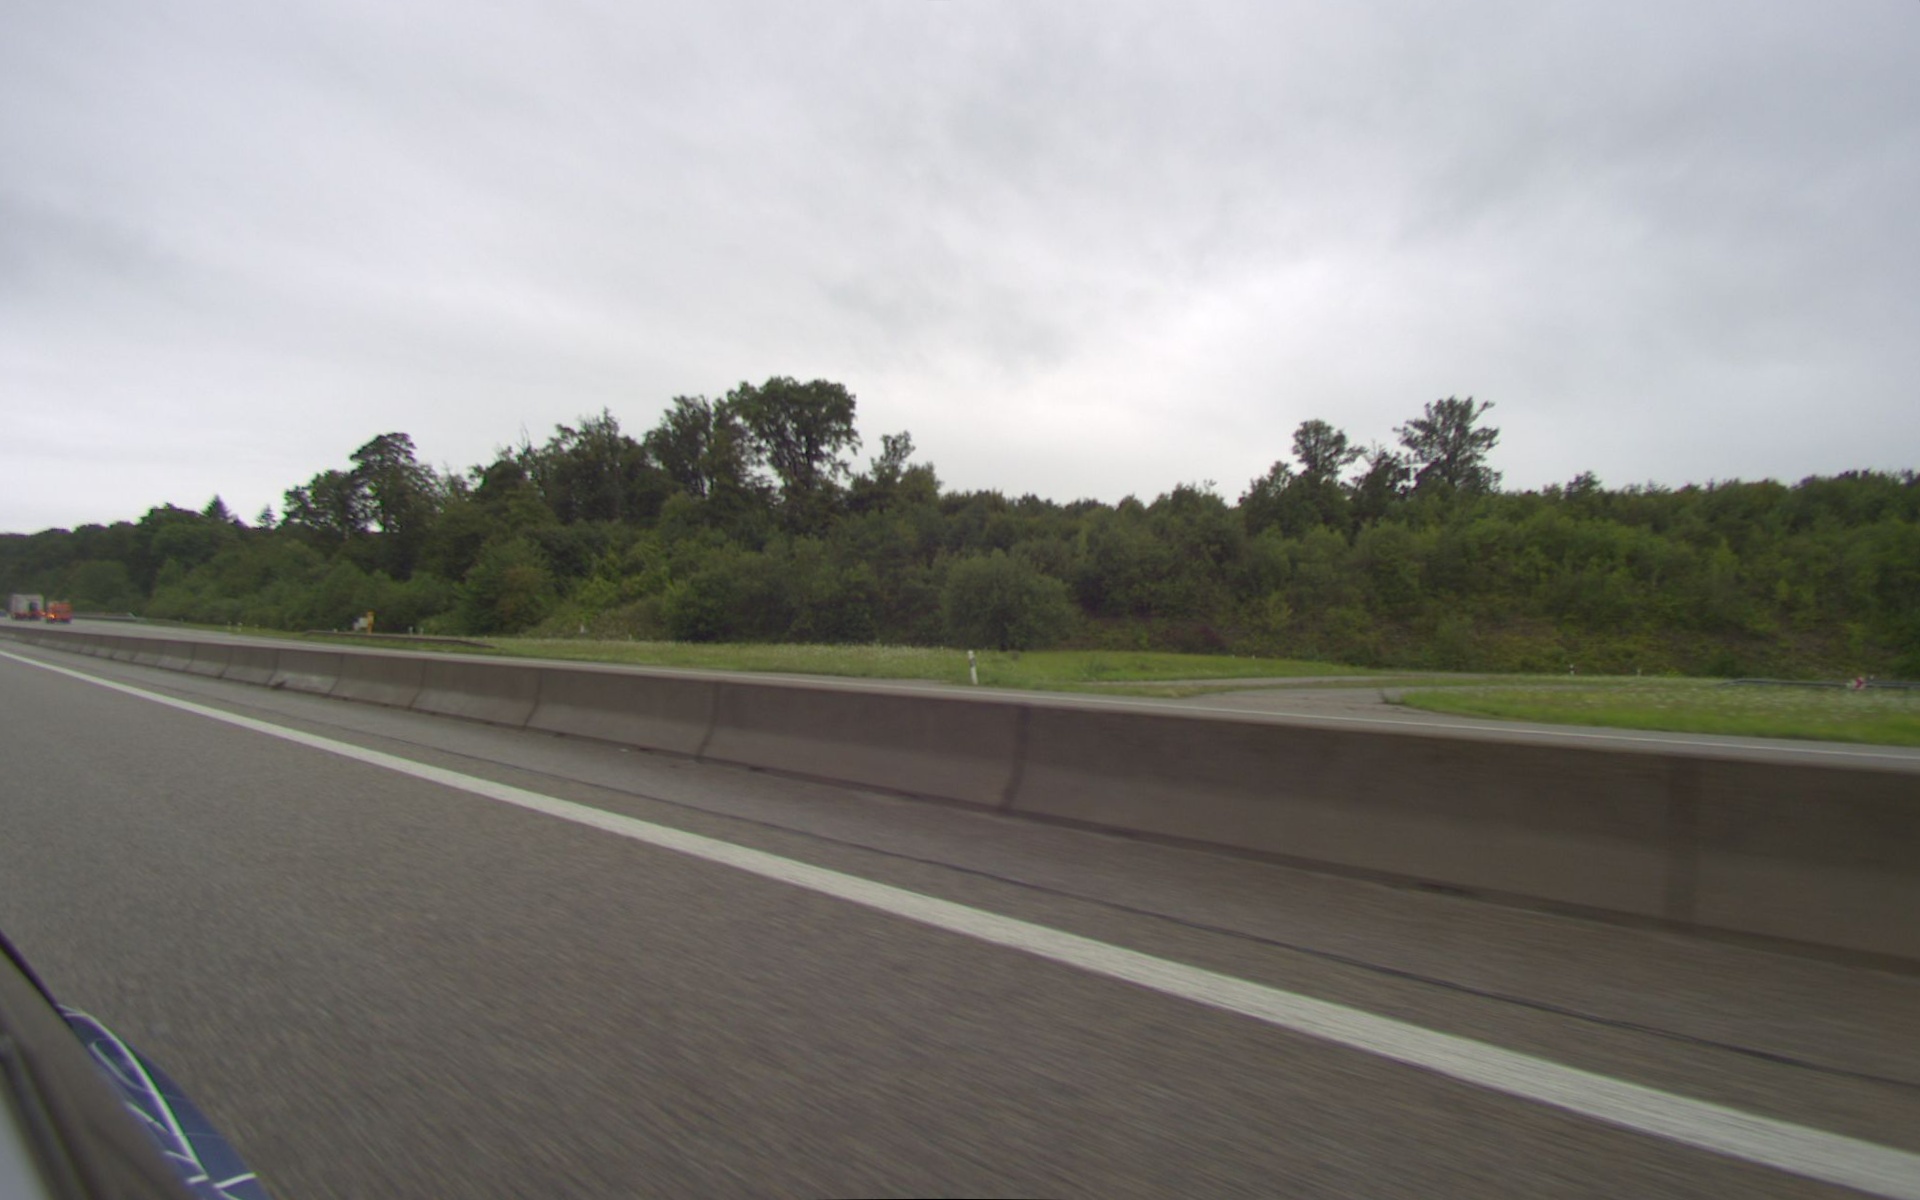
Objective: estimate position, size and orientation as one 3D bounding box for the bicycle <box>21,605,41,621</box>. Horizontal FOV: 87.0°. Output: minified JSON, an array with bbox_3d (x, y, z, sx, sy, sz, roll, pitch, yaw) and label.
[{"bbox_3d":[-144.500,2.007,157.479,1.110,2.545,2.170,0,0,42],"label":"bicycle"}]

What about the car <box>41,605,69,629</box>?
[{"bbox_3d":[-119.047,2.253,133.082,5.975,3.066,2.157,-1,-1,42],"label":"car"}]

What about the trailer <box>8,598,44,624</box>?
[{"bbox_3d":[-149.616,1.732,162.104,12.609,4.048,3.325,-1,-1,43],"label":"trailer"}]
